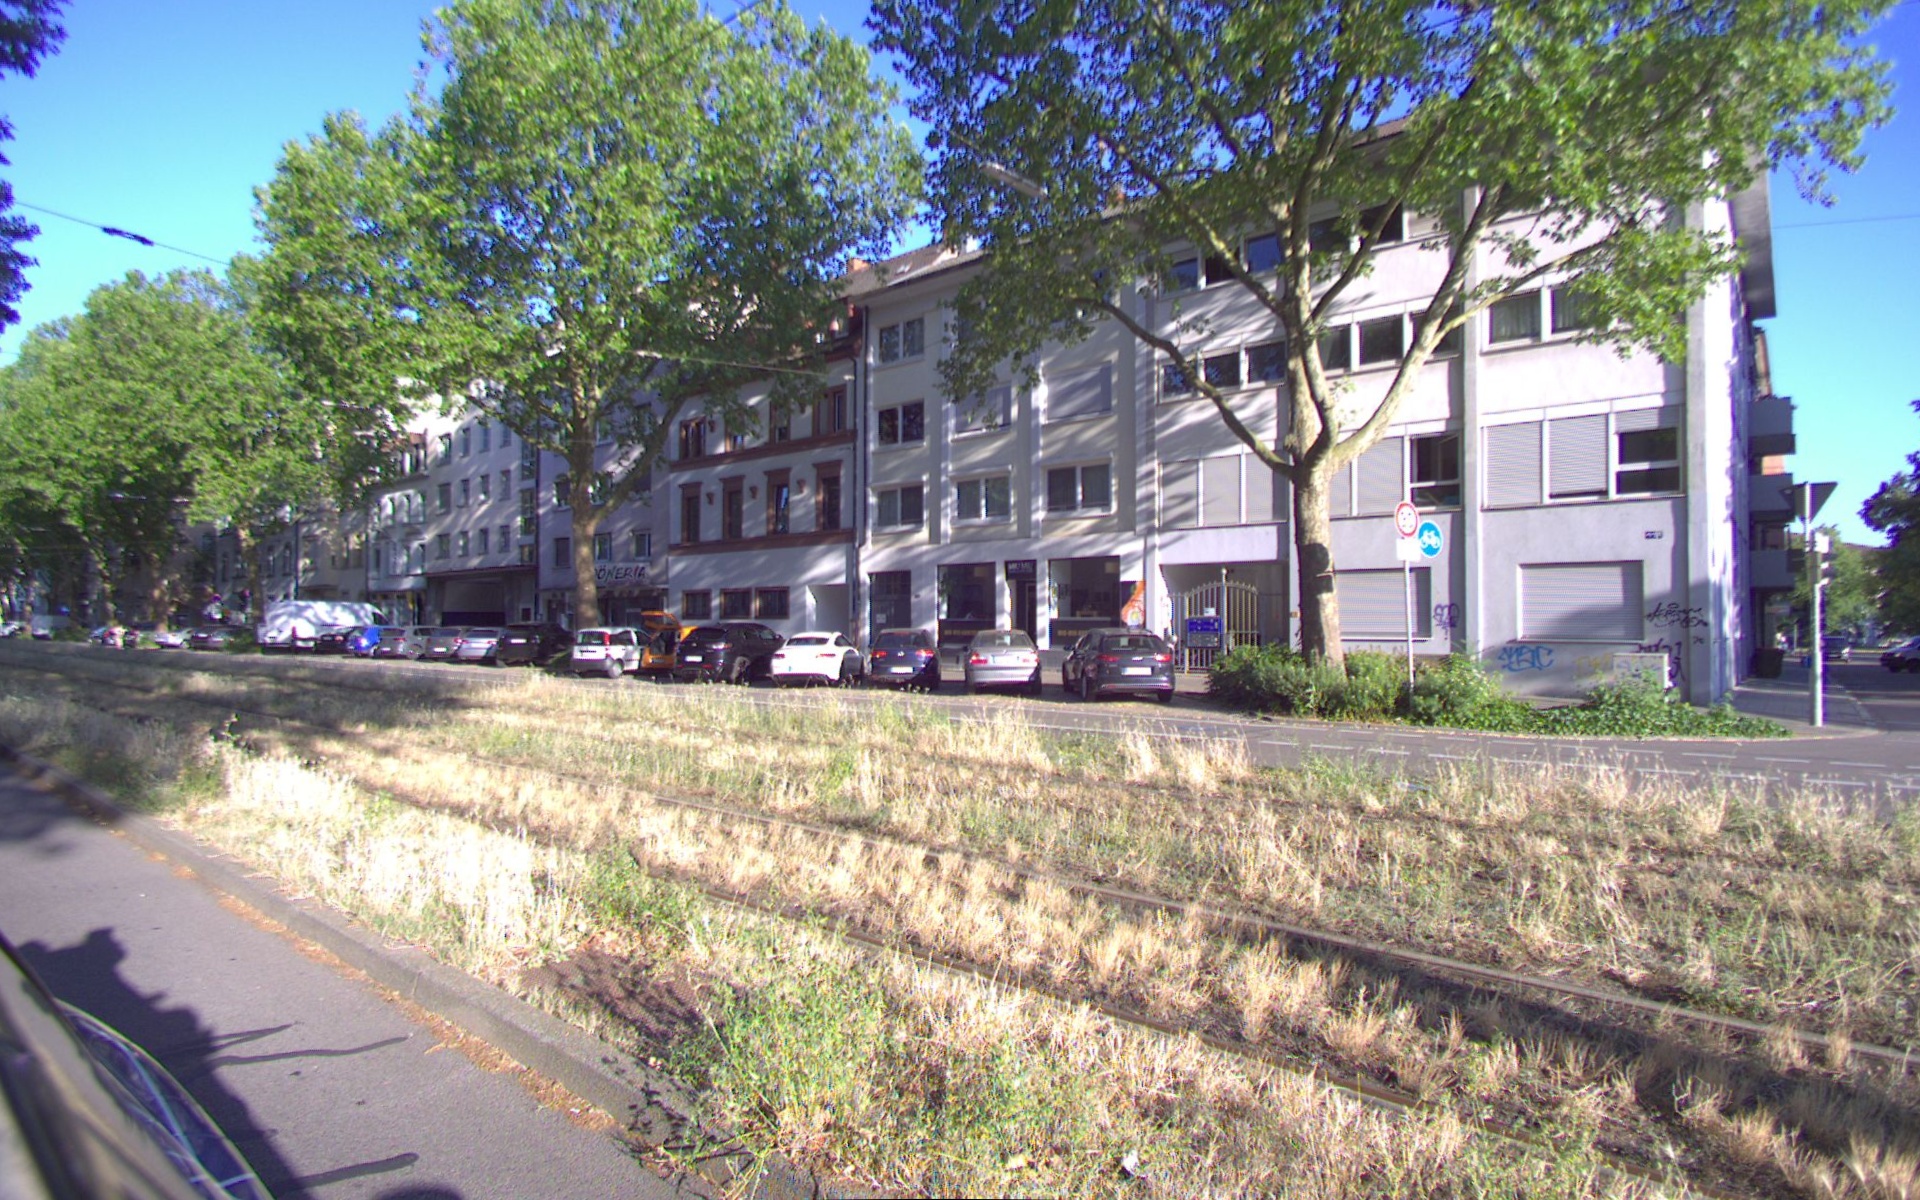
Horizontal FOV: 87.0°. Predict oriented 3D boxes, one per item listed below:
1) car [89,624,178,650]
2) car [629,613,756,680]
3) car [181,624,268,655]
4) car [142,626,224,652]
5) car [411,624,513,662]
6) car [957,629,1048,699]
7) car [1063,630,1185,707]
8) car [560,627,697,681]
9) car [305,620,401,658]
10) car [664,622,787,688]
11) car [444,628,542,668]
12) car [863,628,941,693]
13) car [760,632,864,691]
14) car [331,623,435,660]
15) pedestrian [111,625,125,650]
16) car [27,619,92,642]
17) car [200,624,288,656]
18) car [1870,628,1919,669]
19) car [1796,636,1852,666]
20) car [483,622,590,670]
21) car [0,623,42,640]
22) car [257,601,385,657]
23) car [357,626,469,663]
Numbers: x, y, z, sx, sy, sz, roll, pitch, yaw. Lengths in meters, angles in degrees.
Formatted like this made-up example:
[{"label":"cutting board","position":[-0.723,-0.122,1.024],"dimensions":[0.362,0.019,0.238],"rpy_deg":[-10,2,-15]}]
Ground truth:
[{"label":"car","position":[-54.692,2.430,67.014],"dimensions":[1.996,1.719,4.184],"rpy_deg":[-1,-2,36]},{"label":"car","position":[-8.297,1.420,31.723],"dimensions":[1.508,1.958,4.221],"rpy_deg":[-1,-2,25]},{"label":"car","position":[-45.129,2.412,62.212],"dimensions":[1.980,1.830,3.982],"rpy_deg":[0,-2,13]},{"label":"car","position":[-51.749,2.585,67.505],"dimensions":[1.980,1.719,3.982],"rpy_deg":[0,-2,13]},{"label":"car","position":[-20.448,1.757,41.777],"dimensions":[1.883,1.468,4.251],"rpy_deg":[0,-2,4]},{"label":"car","position":[0.896,1.403,23.267],"dimensions":[1.717,1.443,3.973],"rpy_deg":[-1,-2,-2]},{"label":"car","position":[3.312,1.364,21.177],"dimensions":[1.746,1.443,3.973],"rpy_deg":[0,-2,-2]},{"label":"car","position":[-10.265,1.640,31.653],"dimensions":[1.634,1.569,4.221],"rpy_deg":[-1,-2,25]},{"label":"car","position":[-30.651,1.940,51.249],"dimensions":[1.980,1.830,3.982],"rpy_deg":[0,-2,13]},{"label":"car","position":[-6.484,1.488,28.520],"dimensions":[2.126,1.697,4.250],"rpy_deg":[0,-2,6]},{"label":"car","position":[-18.111,1.824,39.464],"dimensions":[1.582,1.470,4.251],"rpy_deg":[0,-2,4]},{"label":"car","position":[-1.445,1.464,25.610],"dimensions":[1.805,1.516,3.973],"rpy_deg":[0,-2,-2]},{"label":"car","position":[-3.777,1.554,26.564],"dimensions":[2.123,1.388,4.257],"rpy_deg":[0,-2,0]},{"label":"car","position":[-26.268,1.877,46.226],"dimensions":[1.980,1.630,3.982],"rpy_deg":[0,-2,13]},{"label":"pedestrian","position":[-54.631,2.441,65.672],"dimensions":[0.422,1.610,0.612],"rpy_deg":[-1,-2,41]},{"label":"car","position":[-88.313,3.005,99.343],"dimensions":[2.071,2.230,4.943],"rpy_deg":[0,-2,-2]},{"label":"car","position":[-42.534,2.357,60.218],"dimensions":[1.980,1.830,3.982],"rpy_deg":[0,-2,13]},{"label":"car","position":[49.766,2.437,50.987],"dimensions":[5.387,2.029,1.986],"rpy_deg":[-1,-2,21]},{"label":"car","position":[62.783,3.658,73.607],"dimensions":[1.991,2.029,5.371],"rpy_deg":[-1,-2,29]},{"label":"car","position":[-15.426,1.653,37.122],"dimensions":[1.883,1.626,4.250],"rpy_deg":[0,-2,5]},{"label":"car","position":[-106.562,3.547,114.461],"dimensions":[3.937,1.827,1.876],"rpy_deg":[2,-2,-40]},{"label":"car","position":[-33.075,1.497,52.605],"dimensions":[2.161,2.721,5.583],"rpy_deg":[0,-2,16]},{"label":"car","position":[-23.839,1.930,44.254],"dimensions":[1.985,1.530,3.973],"rpy_deg":[0,-2,20]}]
